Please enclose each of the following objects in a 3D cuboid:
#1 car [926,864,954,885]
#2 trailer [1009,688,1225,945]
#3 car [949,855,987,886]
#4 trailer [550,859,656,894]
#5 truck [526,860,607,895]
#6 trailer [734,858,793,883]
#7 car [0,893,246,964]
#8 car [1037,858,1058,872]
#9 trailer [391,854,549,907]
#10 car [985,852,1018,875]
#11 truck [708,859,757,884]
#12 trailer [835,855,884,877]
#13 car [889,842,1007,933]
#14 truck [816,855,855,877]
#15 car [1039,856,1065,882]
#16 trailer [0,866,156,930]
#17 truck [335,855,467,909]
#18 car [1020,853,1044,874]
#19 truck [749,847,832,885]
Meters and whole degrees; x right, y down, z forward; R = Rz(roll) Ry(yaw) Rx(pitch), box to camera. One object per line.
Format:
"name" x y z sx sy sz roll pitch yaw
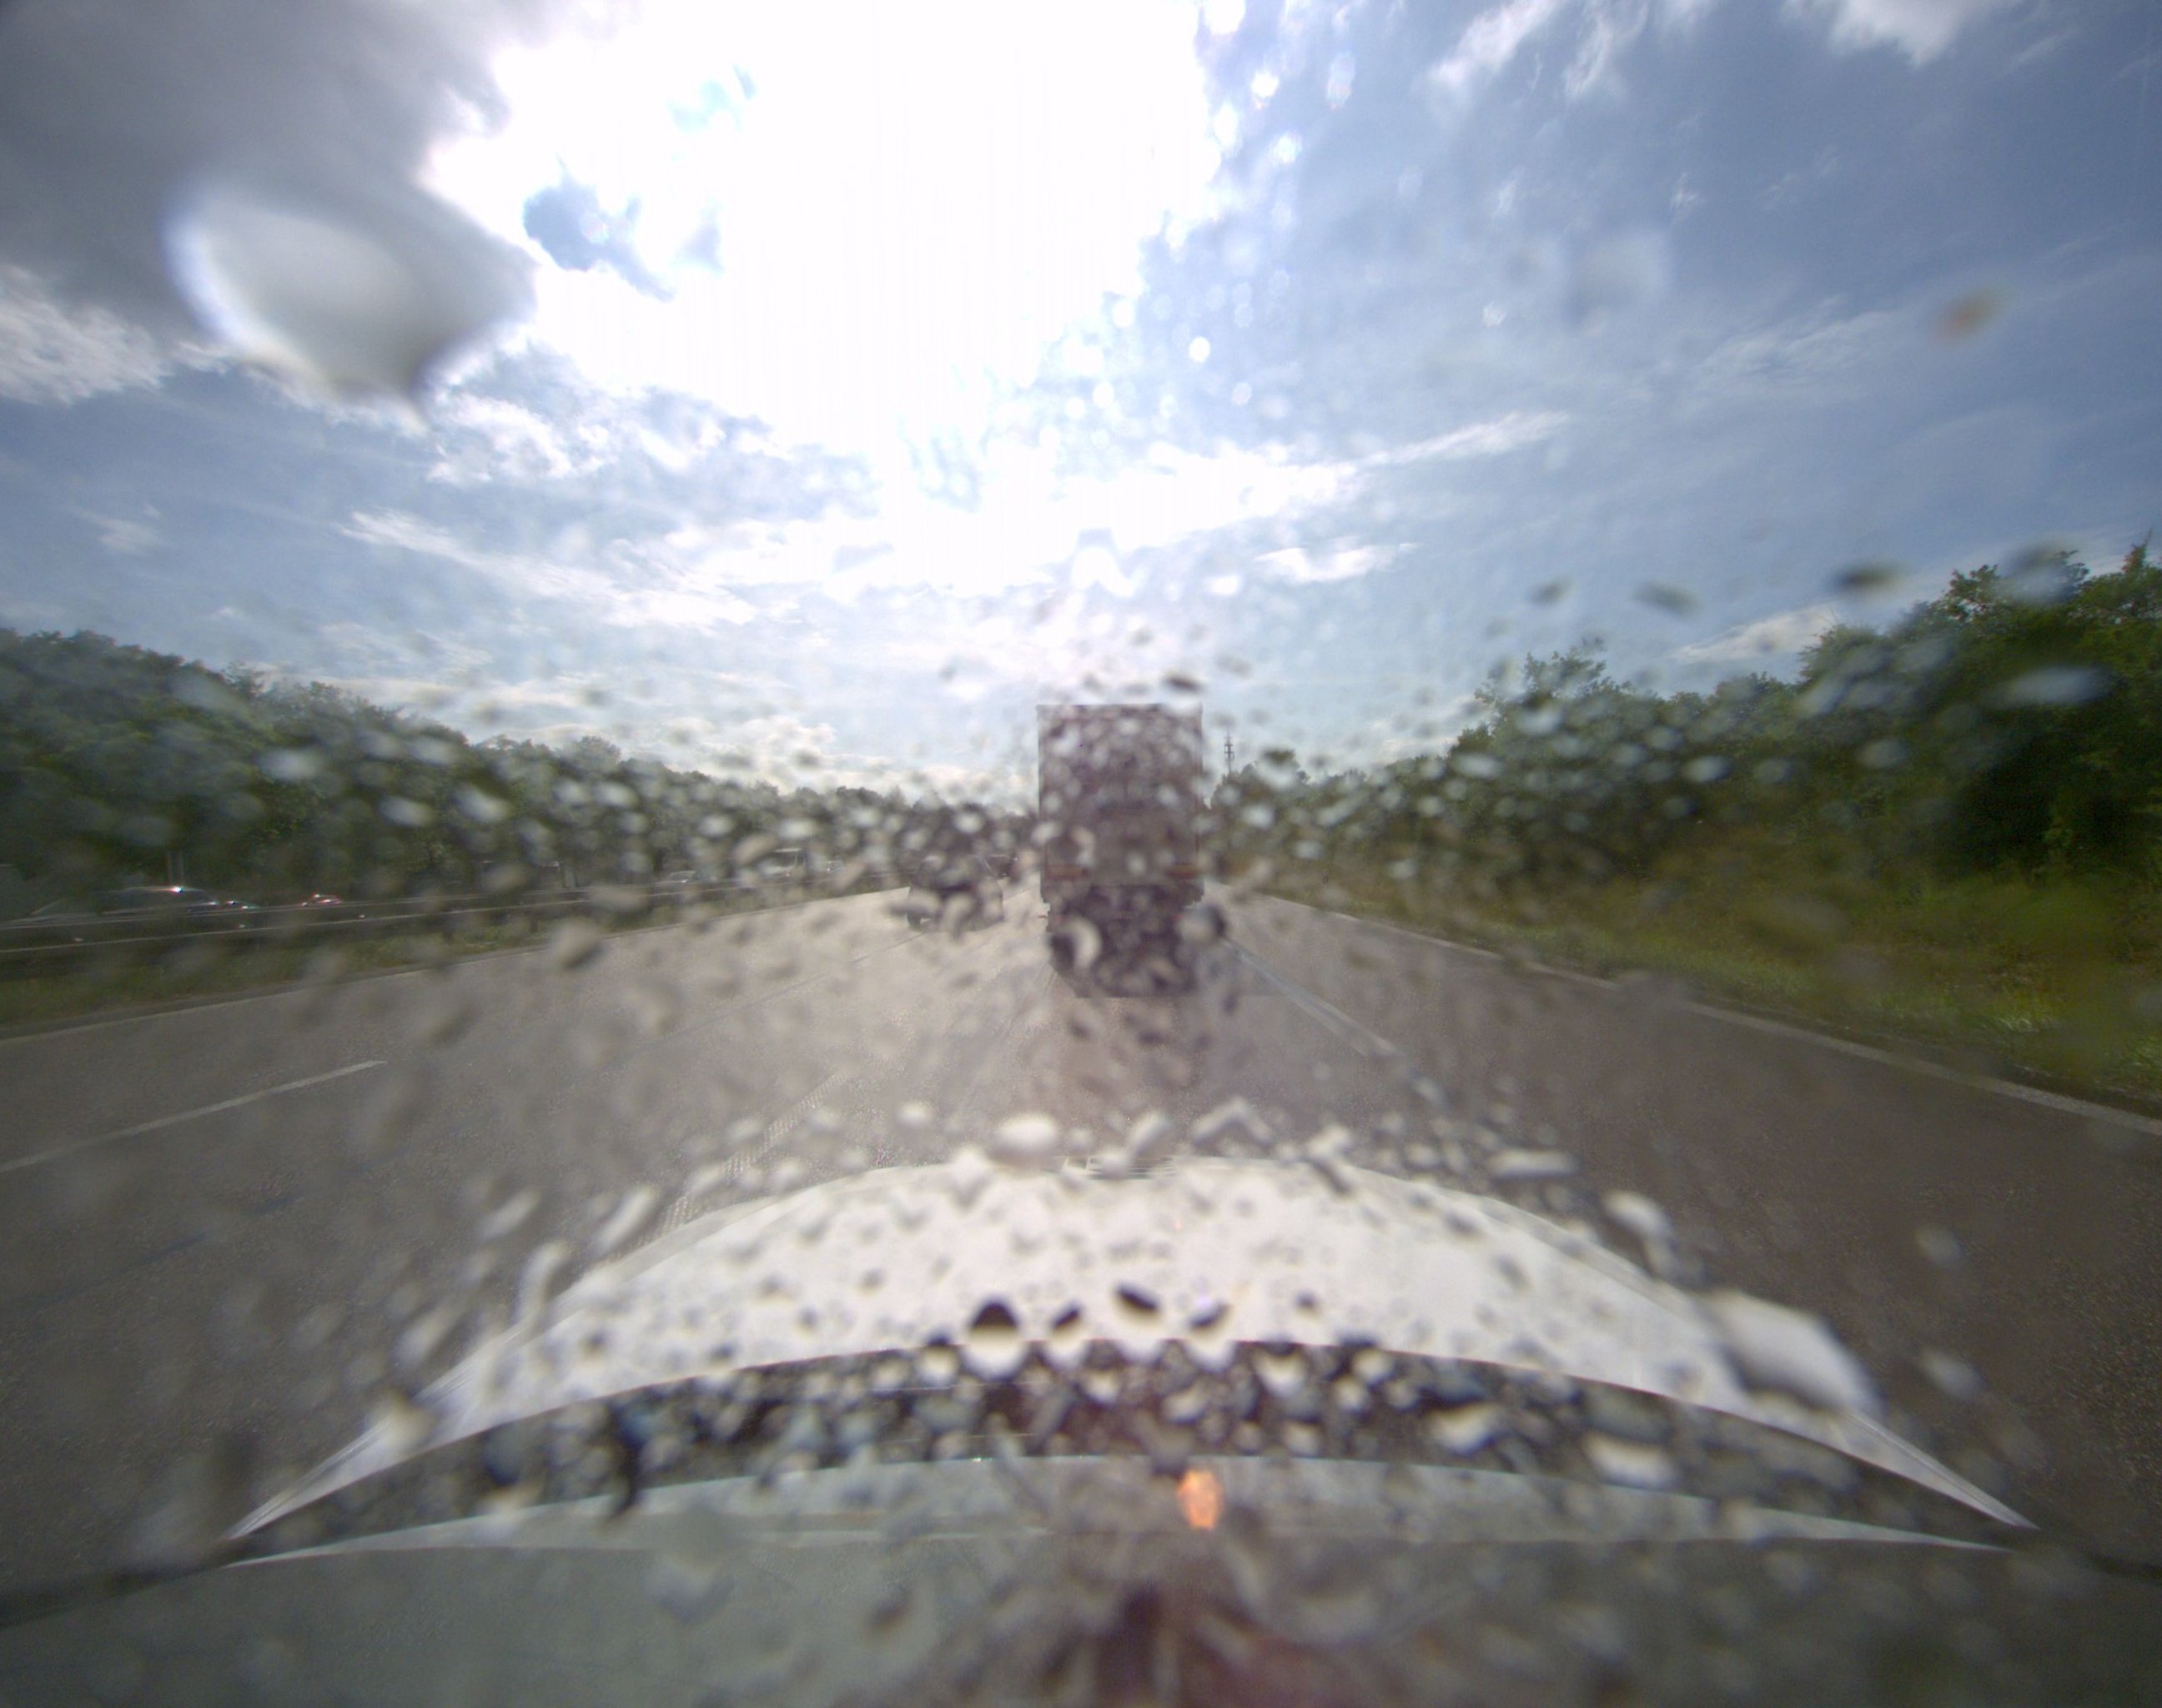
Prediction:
"car" -14.190 2.031 82.032 1.823 2.045 4.781 0 -1 2
"trailer" 0.730 -0.566 19.437 3.272 3.898 14.132 0 0 1
"car" -6.791 0.991 49.204 1.687 1.805 3.976 0 -1 0
"trailer" -55.235 2.489 94.790 3.773 3.649 13.356 -2 0 3
"truck" -55.601 2.446 88.295 3.772 3.589 7.359 0 -1 3
"trailer" -50.237 2.560 129.187 3.766 3.649 10.525 -2 0 9
"car" -23.908 1.745 20.154 1.823 1.392 4.435 0 -1 2
"car" -3.783 1.231 93.000 1.985 1.565 4.760 0 -1 3
"trailer" -56.814 2.253 76.574 3.773 4.405 13.812 -2 0 3
"car" -6.222 0.725 64.226 1.901 1.636 4.620 -2 -1 3
"truck" -51.527 2.537 120.753 3.767 3.660 6.719 0 -1 7
"trailer" -43.040 2.260 158.914 3.759 4.117 11.774 -1 -1 16
"car" -3.087 0.742 20.000 2.268 1.954 4.817 0 -1 -2
"truck" -45.351 2.197 150.768 3.759 4.117 7.074 -1 -1 16
"car" -2.046 1.081 58.497 1.687 1.805 3.976 0 -1 0
"trailer" -56.731 2.340 42.189 3.337 3.216 12.472 -2 0 0
"truck" -57.164 2.252 68.882 3.772 4.234 8.423 0 -1 3
"car" -4.991 0.935 83.579 1.970 2.054 4.760 0 -1 3
"truck" -15.234 0.617 43.084 2.248 1.894 5.448 0 -1 2
